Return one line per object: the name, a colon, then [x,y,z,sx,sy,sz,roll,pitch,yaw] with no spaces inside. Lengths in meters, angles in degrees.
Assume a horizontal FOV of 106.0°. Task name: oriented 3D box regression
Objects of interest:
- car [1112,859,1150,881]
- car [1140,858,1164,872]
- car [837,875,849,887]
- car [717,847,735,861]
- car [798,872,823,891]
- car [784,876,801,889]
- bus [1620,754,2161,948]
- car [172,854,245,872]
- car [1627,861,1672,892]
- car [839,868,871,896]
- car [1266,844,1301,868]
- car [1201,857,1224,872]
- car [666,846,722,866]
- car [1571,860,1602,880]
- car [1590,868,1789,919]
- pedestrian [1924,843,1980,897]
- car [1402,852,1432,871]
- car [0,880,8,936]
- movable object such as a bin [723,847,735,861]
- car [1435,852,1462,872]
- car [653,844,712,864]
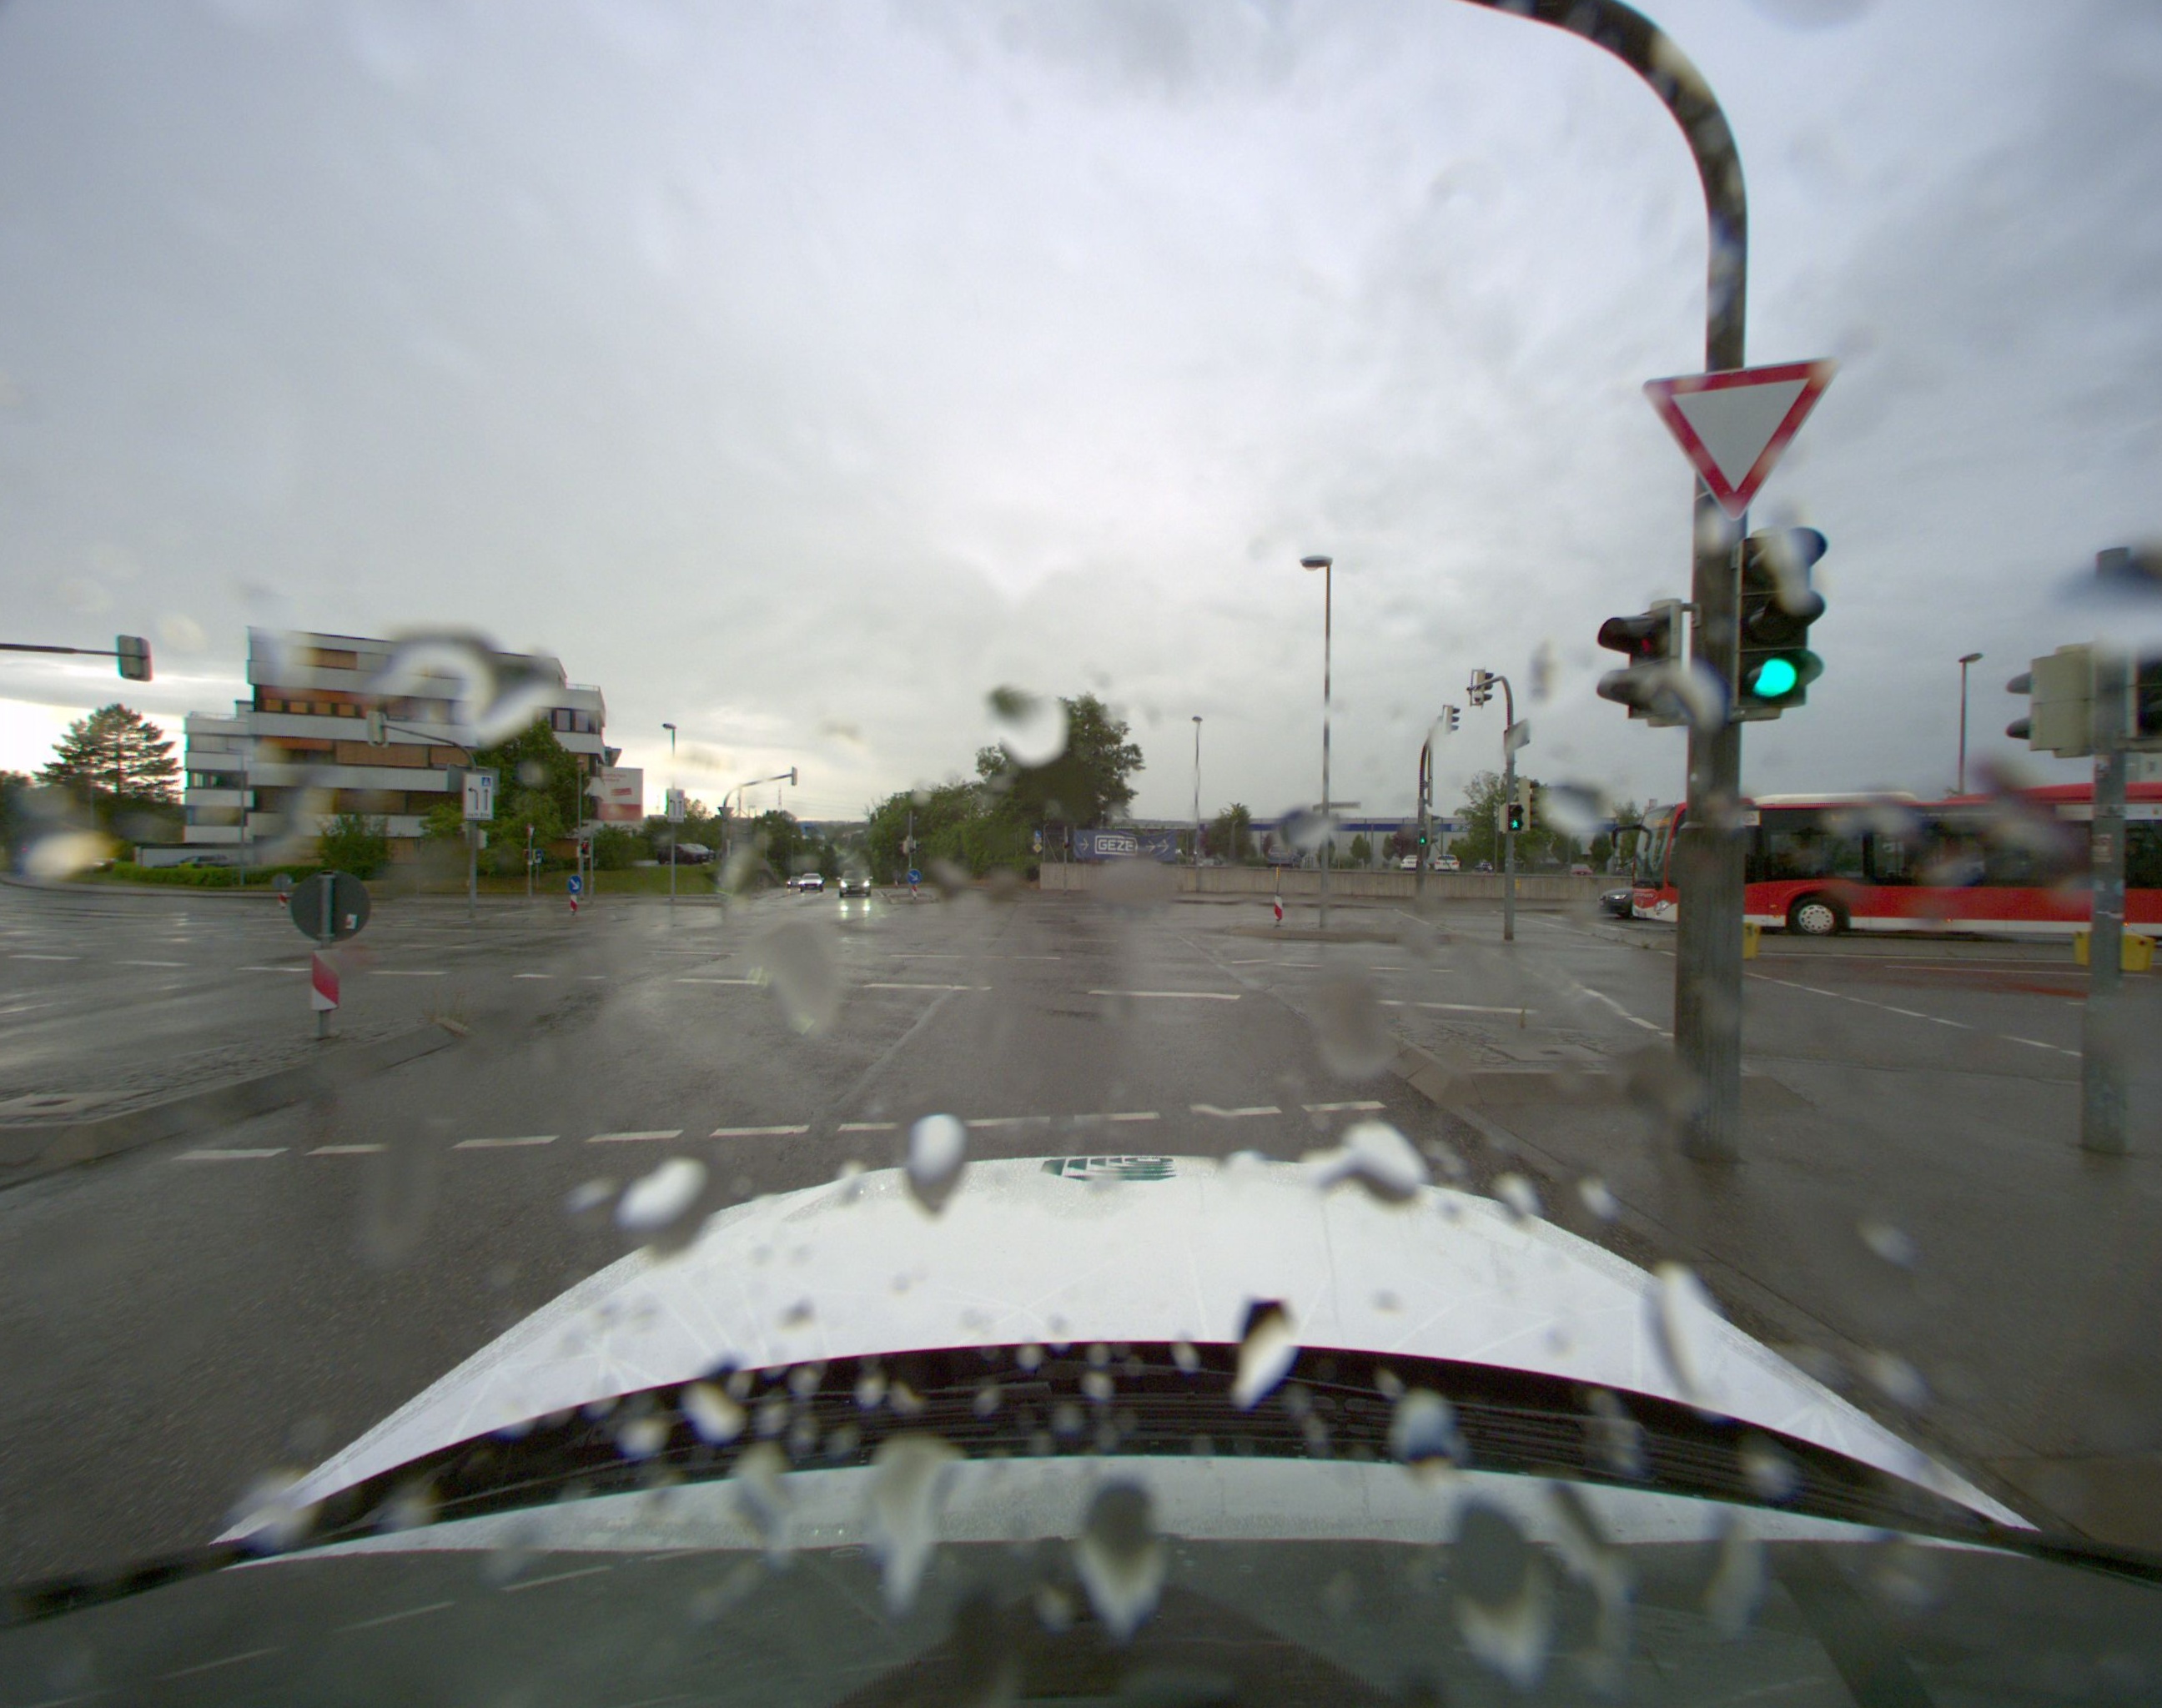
car: [3.716,1.184,60.057,1.727,1.570,3.550,-1,-1,23]
car: [8.194,1.266,93.787,1.651,1.606,3.550,-1,-1,23]
car: [-42.025,4.773,143.966,1.997,2.014,3.979,0,0,-16]
car: [-41.776,0.025,95.759,1.836,1.442,3.967,2,-3,-24]
car: [-22.645,2.292,68.289,1.723,1.495,3.978,0,-1,-15]
car: [-35.730,3.495,100.818,1.905,1.456,3.971,0,0,-21]
bus: [18.818,-0.086,17.064,12.151,3.576,3.001,2,0,19]
car: [-69.942,0.705,65.366,3.779,1.399,1.977,0,0,-40]
car: [38.466,1.473,55.165,1.727,2.014,3.844,-1,-1,23]
car: [-12.788,1.551,46.210,1.664,1.495,3.978,0,-1,-15]
car: [13.696,0.169,55.058,1.727,1.553,3.550,-1,-1,23]
car: [14.611,1.174,90.181,1.651,1.606,3.550,-1,-1,23]
car: [-33.235,0.179,69.934,3.958,1.586,1.909,0,-3,15]
car: [43.269,1.336,69.787,1.905,1.589,3.811,0,0,26]
car: [17.667,1.122,23.900,4.344,1.354,1.834,0,0,18]
pedestrian: [27.138,0.481,25.389,0.863,1.610,0.874,0,3,17]
car: [26.970,0.616,65.333,1.800,1.434,4.128,-1,-1,28]
car: [-28.620,1.333,19.827,4.479,1.363,1.772,-1,-1,21]
movable object such as a bin: [-37.196,0.029,86.021,1.088,1.437,1.435,2,-3,-24]
car: [29.310,0.641,64.856,1.841,1.526,4.127,-1,-1,25]
car: [-32.992,-0.009,67.454,3.961,1.586,1.907,0,-3,11]
